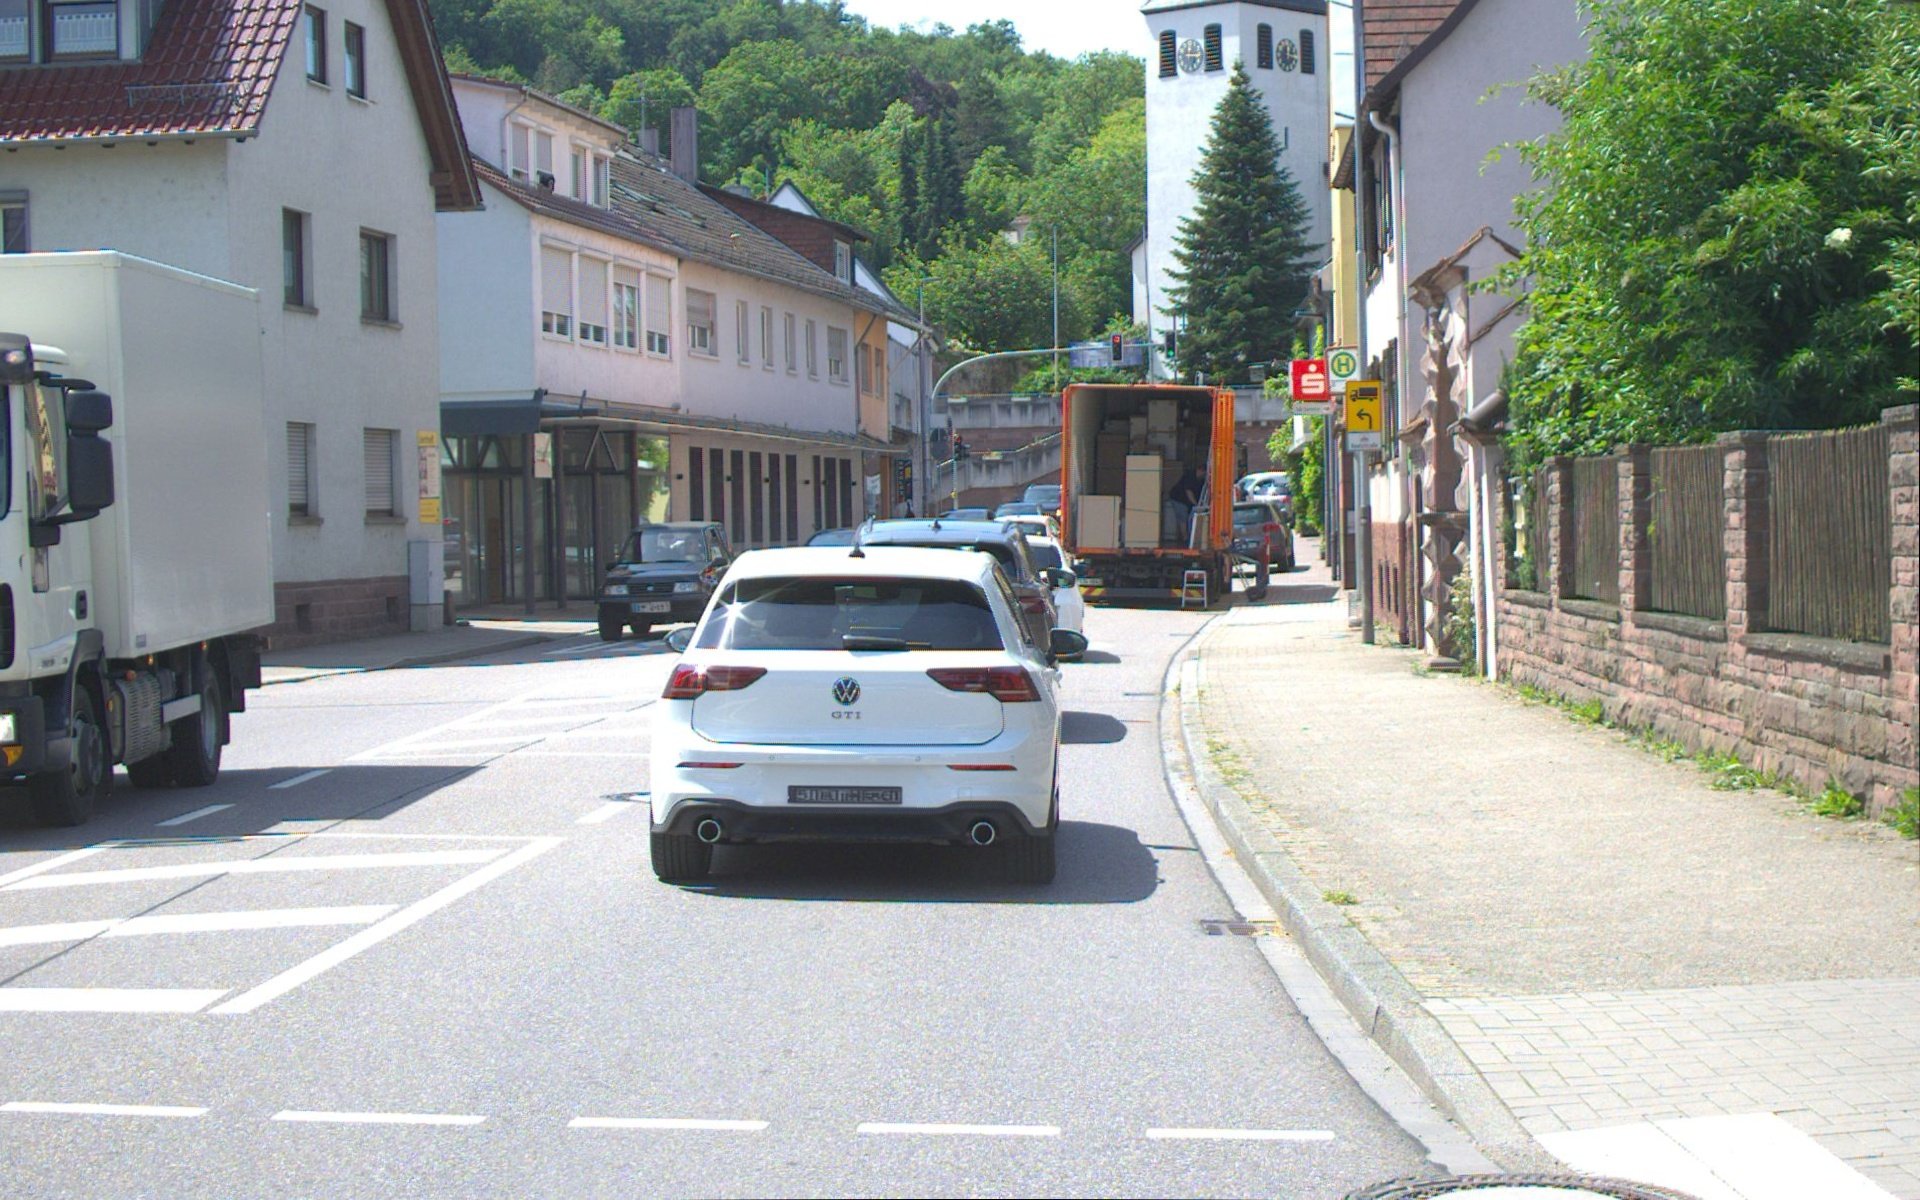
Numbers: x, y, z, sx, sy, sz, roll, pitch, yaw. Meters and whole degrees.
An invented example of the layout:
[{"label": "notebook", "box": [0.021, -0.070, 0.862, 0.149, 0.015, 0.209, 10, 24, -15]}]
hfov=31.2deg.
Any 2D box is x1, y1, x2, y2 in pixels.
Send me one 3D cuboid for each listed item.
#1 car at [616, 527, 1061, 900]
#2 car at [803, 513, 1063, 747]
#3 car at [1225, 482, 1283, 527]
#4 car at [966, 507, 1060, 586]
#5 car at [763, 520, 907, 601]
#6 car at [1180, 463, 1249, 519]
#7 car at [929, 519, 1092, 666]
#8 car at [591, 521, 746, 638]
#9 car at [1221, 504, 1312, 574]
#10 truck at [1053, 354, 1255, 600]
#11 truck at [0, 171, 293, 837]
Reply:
[{"label": "car", "box": [-0.438, 0.436, 16.014, 1.815, 1.514, 4.000, 0, 1, 2]}, {"label": "car", "box": [-0.134, 0.191, 26.707, 1.815, 1.623, 4.000, -2, 1, 2]}, {"label": "car", "box": [10.647, -3.437, 124.553, 1.815, 1.514, 4.000, -2, 1, 2]}, {"label": "car", "box": [1.113, -1.085, 70.116, 1.815, 1.514, 4.000, -2, 1, 2]}, {"label": "car", "box": [-2.361, -0.772, 66.131, 1.864, 1.437, 4.215, -2, 1, 10]}, {"label": "car", "box": [7.459, -3.193, 101.076, 1.815, 1.514, 4.000, -2, 1, 2]}, {"label": "car", "box": [0.637, -0.110, 41.330, 1.815, 1.623, 4.000, -2, 1, 2]}, {"label": "car", "box": [-4.283, -0.339, 50.932, 1.739, 1.645, 3.668, -1, 1, 4]}, {"label": "car", "box": [7.083, -1.407, 79.780, 1.815, 1.514, 4.000, -2, 1, 2]}, {"label": "truck", "box": [3.711, -2.206, 64.641, 3.367, 4.155, 9.518, -2, 1, 4]}, {"label": "truck", "box": [-5.679, -0.460, 19.708, 2.502, 3.224, 6.040, -2, 1, -1]}]
